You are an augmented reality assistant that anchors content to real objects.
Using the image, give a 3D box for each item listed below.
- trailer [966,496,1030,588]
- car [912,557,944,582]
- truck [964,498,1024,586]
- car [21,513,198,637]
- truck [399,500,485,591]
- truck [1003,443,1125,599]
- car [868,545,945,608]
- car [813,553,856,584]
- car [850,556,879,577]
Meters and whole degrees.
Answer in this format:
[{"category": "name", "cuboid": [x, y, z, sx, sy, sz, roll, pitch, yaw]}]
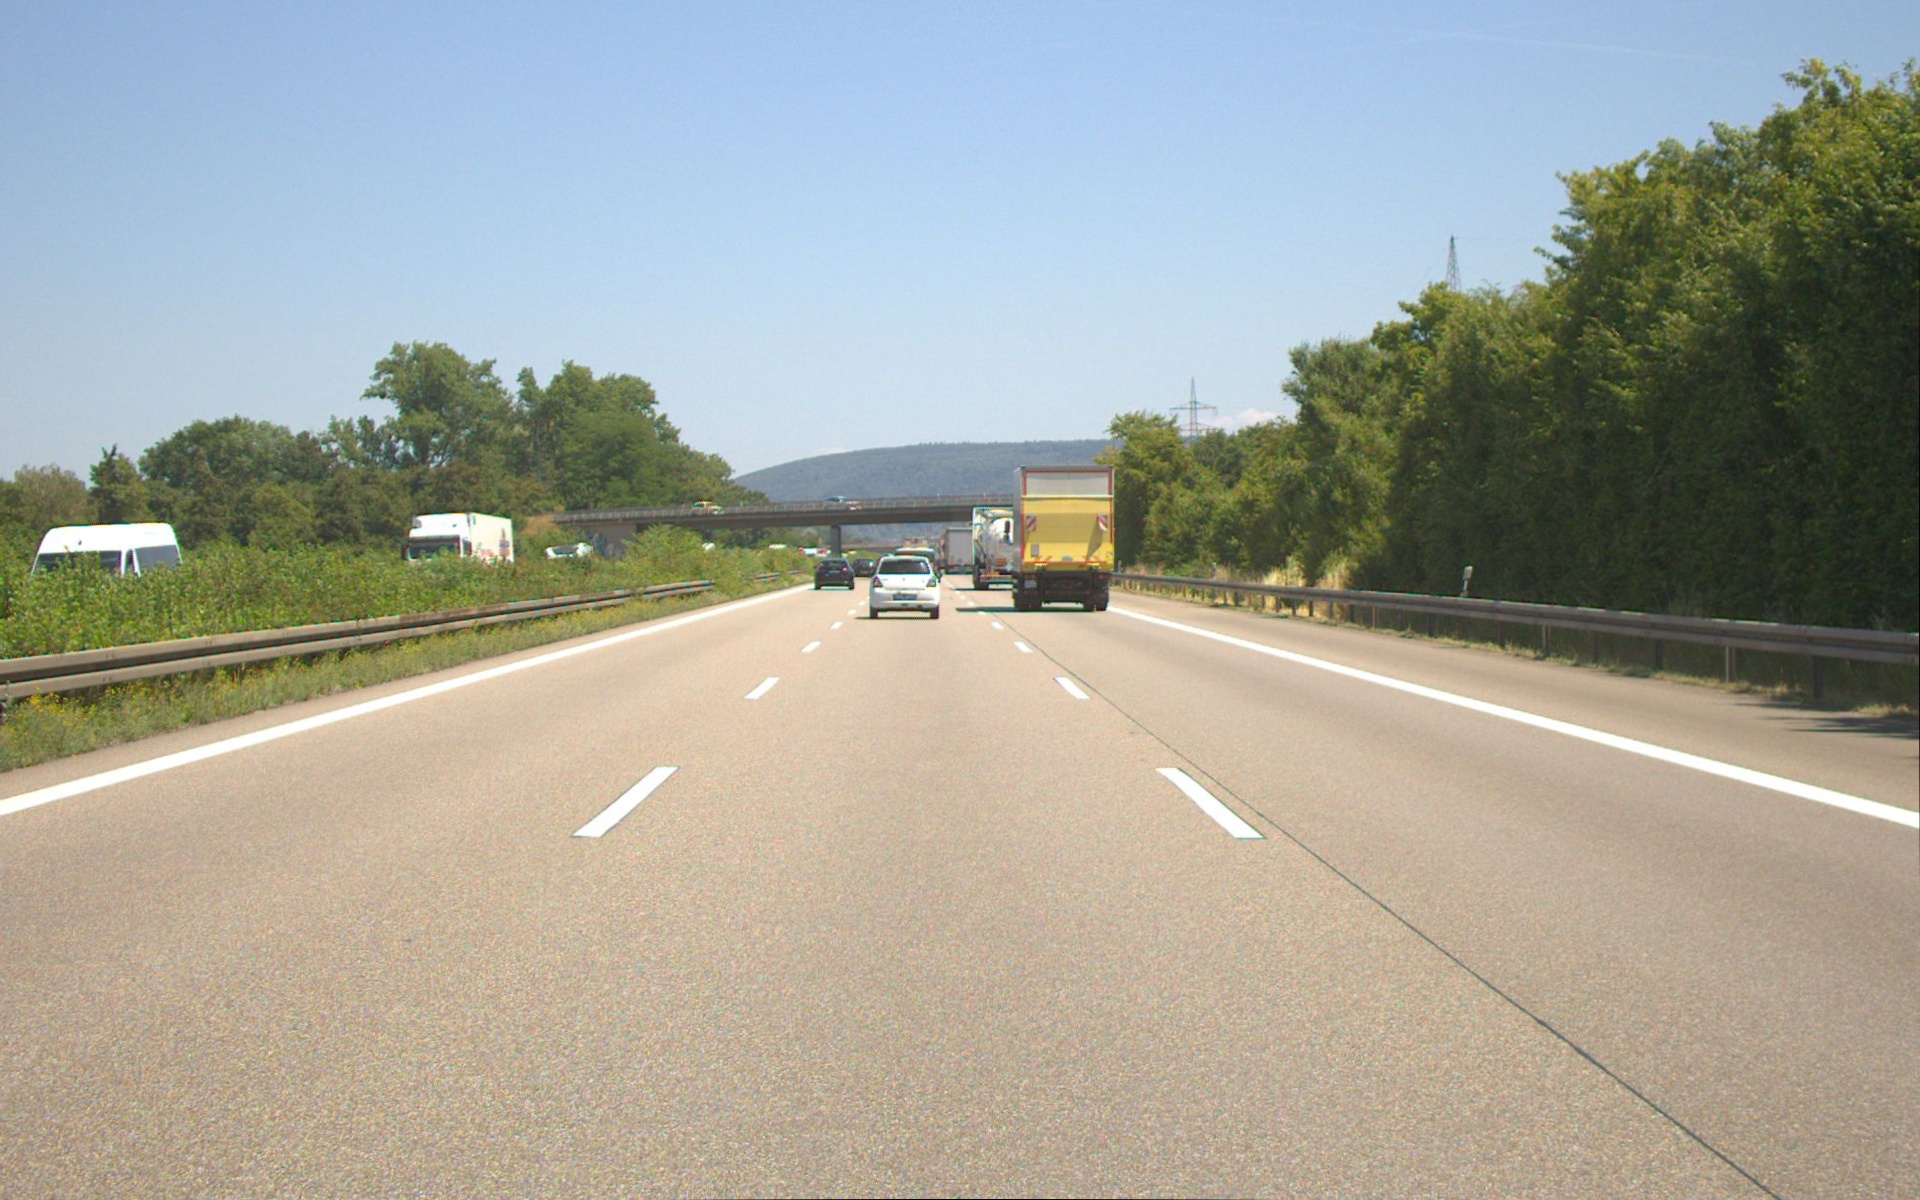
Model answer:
[{"category": "trailer", "cuboid": [1.696, -2.677, 158.938, 2.580, 4.060, 11.104, 1, 1, -1]}, {"category": "car", "cuboid": [-1.892, -1.788, 201.160, 1.835, 1.382, 4.000, 1, 1, 0]}, {"category": "truck", "cuboid": [1.598, -2.746, 163.816, 2.573, 4.058, 6.393, 1, 1, -1]}, {"category": "car", "cuboid": [-17.391, -0.528, 70.632, 2.080, 2.386, 6.733, 1, 1, -1]}, {"category": "truck", "cuboid": [-22.543, -2.359, 149.823, 2.933, 3.856, 5.752, 1, 1, -1]}, {"category": "truck", "cuboid": [2.868, -2.202, 98.253, 2.933, 4.185, 10.682, 1, 1, -1]}, {"category": "car", "cuboid": [-1.294, -0.583, 83.652, 1.806, 1.463, 4.000, 1, 1, 0]}, {"category": "car", "cuboid": [-5.750, -1.463, 157.704, 1.835, 1.382, 4.000, 1, 1, 0]}, {"category": "car", "cuboid": [-6.370, -2.265, 229.724, 1.835, 1.382, 4.000, 1, 1, 0]}]
